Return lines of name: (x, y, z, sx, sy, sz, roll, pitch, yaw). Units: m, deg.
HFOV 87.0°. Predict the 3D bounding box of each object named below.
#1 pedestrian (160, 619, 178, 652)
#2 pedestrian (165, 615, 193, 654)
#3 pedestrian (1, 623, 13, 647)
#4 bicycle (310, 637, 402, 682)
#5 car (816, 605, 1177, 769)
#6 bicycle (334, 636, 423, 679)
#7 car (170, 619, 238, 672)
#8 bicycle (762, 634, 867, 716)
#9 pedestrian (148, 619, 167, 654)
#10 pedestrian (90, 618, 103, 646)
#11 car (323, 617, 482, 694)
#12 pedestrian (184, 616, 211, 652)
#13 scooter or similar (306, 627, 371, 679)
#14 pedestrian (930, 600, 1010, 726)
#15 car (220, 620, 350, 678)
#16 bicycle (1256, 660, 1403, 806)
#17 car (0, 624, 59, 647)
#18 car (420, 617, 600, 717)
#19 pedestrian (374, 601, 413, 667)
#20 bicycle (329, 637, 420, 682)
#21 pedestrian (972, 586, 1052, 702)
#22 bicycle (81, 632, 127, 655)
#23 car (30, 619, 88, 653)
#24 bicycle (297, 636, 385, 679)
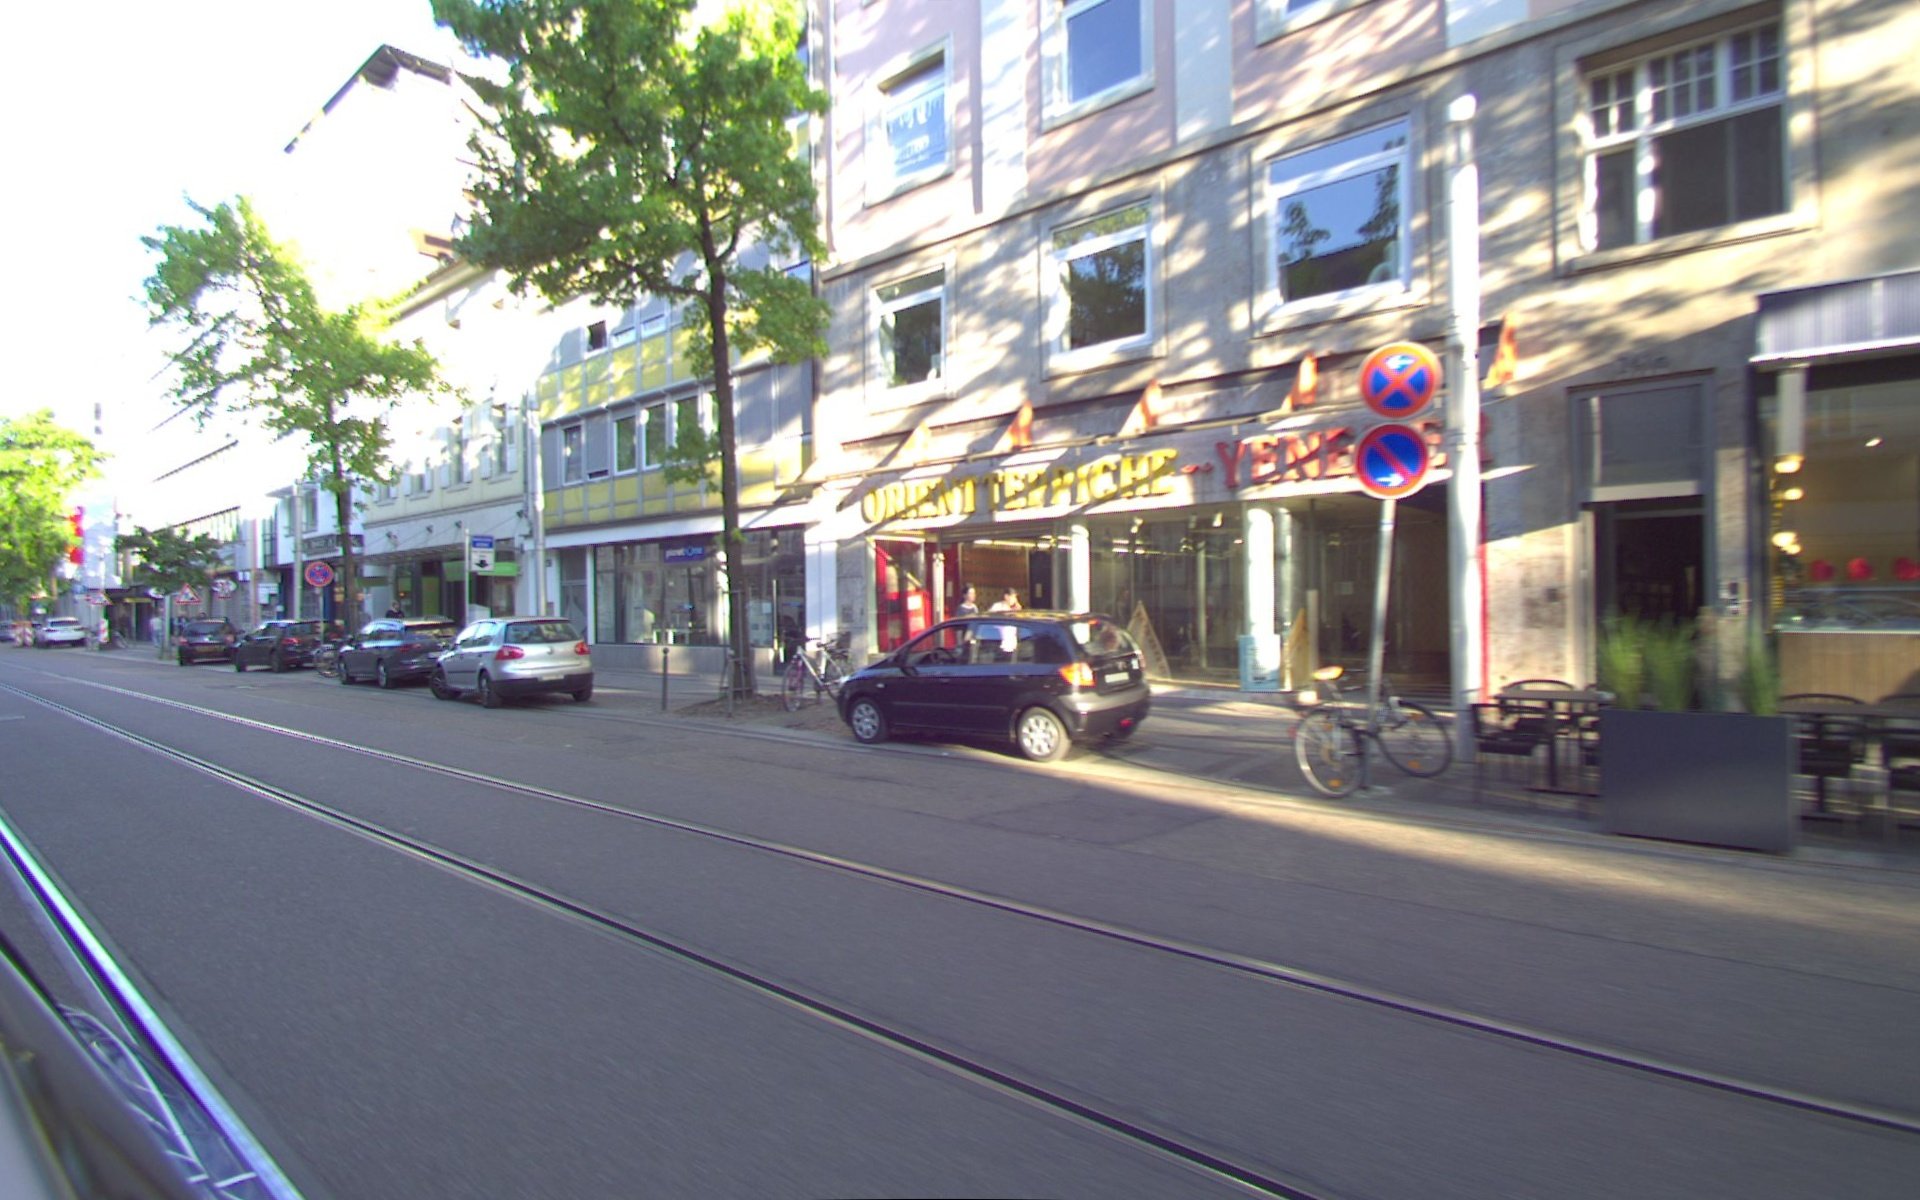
pedestrian: (-42.210, 1.890, 54.003, 0.620, 1.725, 0.808, -2, 0, -44)
pedestrian: (-36.022, 1.577, 46.678, 0.831, 1.780, 0.842, -2, -1, 39)
pedestrian: (-76.940, 2.836, 81.680, 0.723, 1.948, 0.647, -2, -2, 44)
bicycle: (-15.050, 1.470, 25.248, 0.331, 1.009, 1.948, -2, -1, 44)
car: (0.295, 0.855, 11.311, 3.825, 1.439, 1.648, -2, 2, 41)
bicycle: (-14.940, 1.462, 26.039, 1.948, 1.009, 0.420, 0, -1, -44)
car: (-25.935, 1.520, 34.807, 1.608, 1.628, 3.718, -3, 0, -33)
bicycle: (-2.114, 1.071, 14.917, 0.439, 1.073, 1.795, -2, 0, 33)
pedestrian: (-41.336, 1.869, 52.113, 0.634, 1.725, 0.830, -2, 0, -44)
pedestrian: (-63.181, 2.317, 74.030, 0.592, 2.029, 0.608, -2, -2, 40)
car: (-12.459, 1.178, 22.500, 4.485, 1.472, 1.693, -2, 1, 42)
pedestrian: (-37.545, 1.658, 49.839, 1.037, 1.708, 0.823, -2, 1, 42)
scooter or similar: (-16.706, 1.406, 27.211, 1.403, 1.280, 0.375, -3, 1, -44)
pedestrian: (0.139, 0.856, 14.237, 0.740, 1.706, 0.835, -2, -1, 41)
car: (-19.634, 1.385, 29.385, 4.234, 1.501, 1.776, -1, 1, 36)
bicycle: (3.067, 1.044, 8.328, 1.597, 0.972, 0.433, -3, 1, -43)
car: (-72.472, 2.744, 78.495, 1.775, 1.572, 3.380, -1, 2, 19)
car: (-8.040, 1.078, 17.892, 1.745, 1.508, 4.181, -1, 0, -41)
pedestrian: (-16.284, 0.960, 29.076, 0.878, 1.839, 0.653, -2, 1, 42)
bicycle: (-14.566, 1.461, 25.212, 0.330, 1.009, 1.949, -2, -1, 44)
pedestrian: (0.798, 0.655, 15.437, 0.913, 1.706, 0.781, -2, -1, 41)
bicycle: (-44.124, 2.233, 52.180, 1.724, 0.999, 0.479, -5, 1, -41)
car: (-52.849, 2.100, 59.342, 4.742, 1.767, 1.973, -2, 1, 41)
bicycle: (-16.188, 1.489, 26.517, 0.331, 1.009, 1.948, -2, -1, 44)
